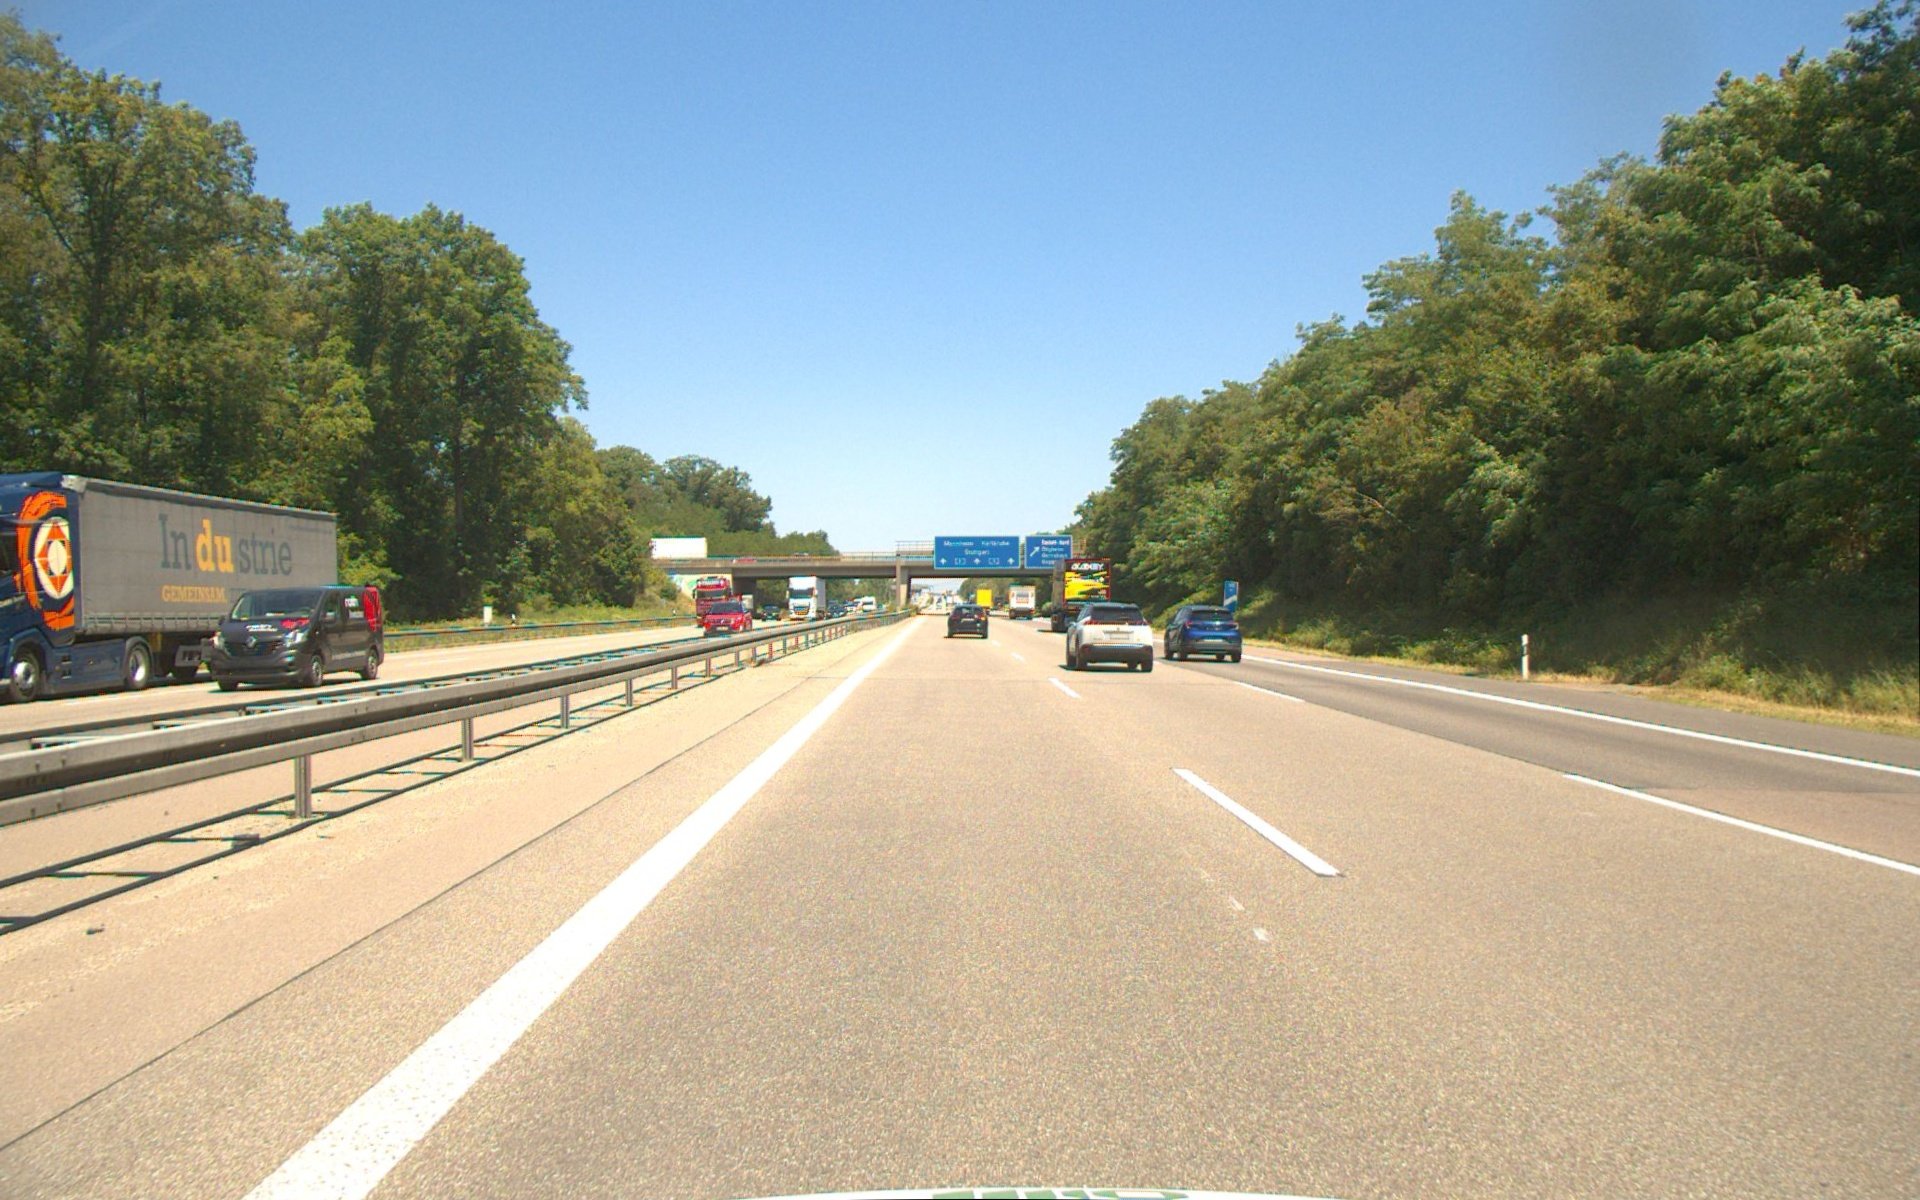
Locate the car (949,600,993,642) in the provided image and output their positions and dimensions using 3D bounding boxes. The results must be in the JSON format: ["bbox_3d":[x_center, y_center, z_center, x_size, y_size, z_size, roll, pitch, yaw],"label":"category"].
[{"bbox_3d":[0.461,0.910,72.191,1.790,1.736,3.999,1,-1,-1],"label":"car"}]

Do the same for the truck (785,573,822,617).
[{"bbox_3d":[-15.077,-0.426,159.668,2.925,4.089,6.040,1,-1,0],"label":"truck"}]

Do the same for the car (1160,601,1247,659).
[{"bbox_3d":[6.987,0.846,47.827,1.832,1.583,4.200,1,-1,-1],"label":"car"}]

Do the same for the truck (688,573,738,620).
[{"bbox_3d":[-18.901,-0.211,127.146,2.693,3.453,7.660,1,-1,0],"label":"truck"}]

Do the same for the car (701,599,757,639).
[{"bbox_3d":[-9.923,0.820,71.349,1.696,1.613,4.644,1,-1,0],"label":"car"}]

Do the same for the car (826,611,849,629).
[{"bbox_3d":[-10.893,1.769,147.281,1.770,1.619,4.668,1,-1,-1],"label":"car"}]

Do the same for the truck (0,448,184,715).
[{"bbox_3d":[-17.563,-0.309,30.641,3.256,4.418,6.611,1,-1,-1],"label":"truck"}]

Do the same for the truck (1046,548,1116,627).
[{"bbox_3d":[6.757,-0.630,93.989,2.914,4.107,10.979,2,-1,-1],"label":"truck"}]

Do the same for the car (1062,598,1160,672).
[{"bbox_3d":[3.511,0.792,39.138,1.790,1.636,4.807,1,-1,-1],"label":"car"}]

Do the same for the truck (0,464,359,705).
[{"bbox_3d":[-17.714,-0.253,37.492,3.256,4.417,13.906,1,-1,-1],"label":"truck"}]

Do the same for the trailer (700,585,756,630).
[{"bbox_3d":[-18.958,0.615,135.891,2.723,3.453,13.288,1,-1,0],"label":"trailer"}]

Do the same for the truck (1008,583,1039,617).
[{"bbox_3d":[6.711,0.028,174.022,2.965,3.377,10.775,1,-1,4],"label":"truck"}]

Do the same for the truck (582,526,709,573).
[{"bbox_3d":[-41.346,-6.583,217.772,16.152,5.663,3.169,1,-1,-8],"label":"truck"}]

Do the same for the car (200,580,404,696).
[{"bbox_3d":[-13.076,0.728,33.284,1.953,2.049,5.358,-2,0,-1],"label":"car"}]
